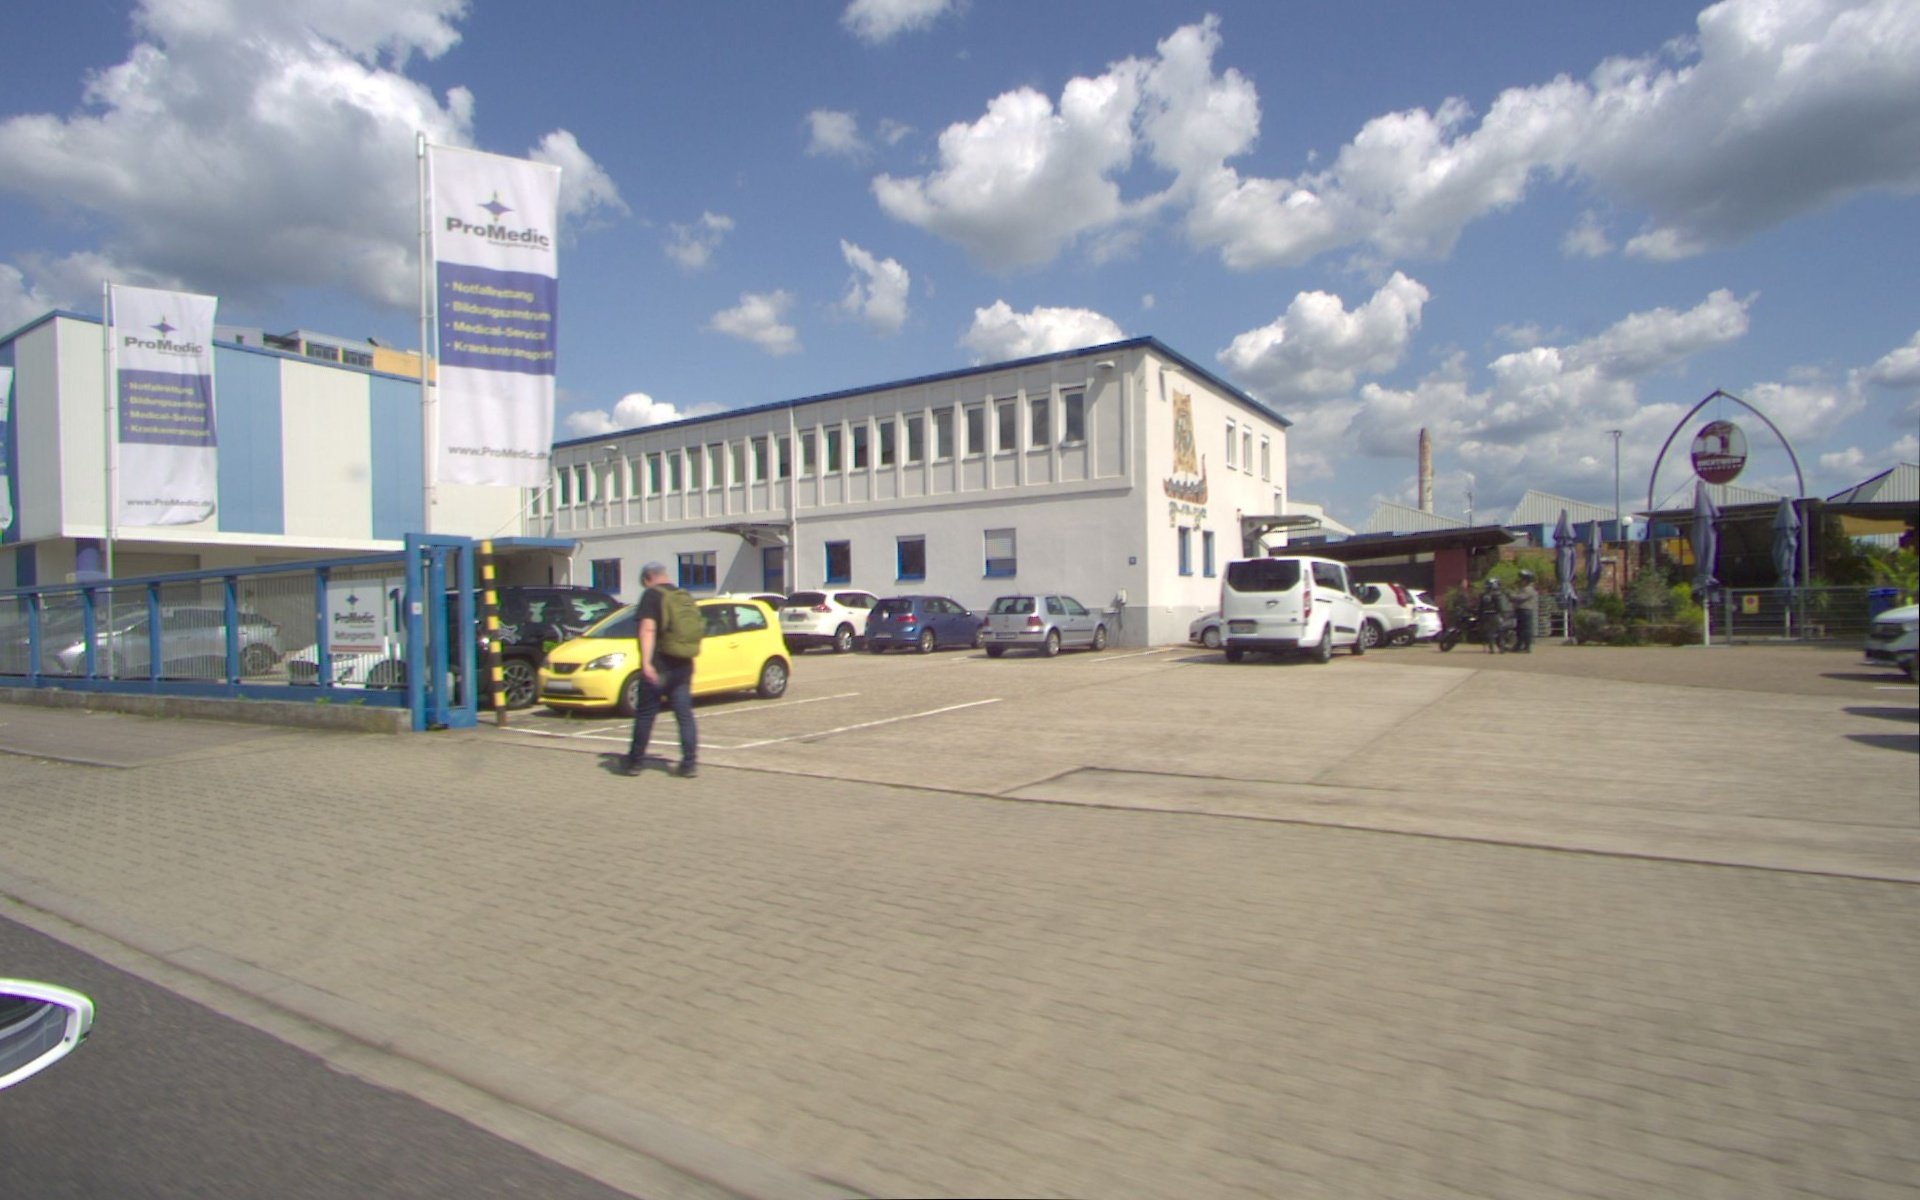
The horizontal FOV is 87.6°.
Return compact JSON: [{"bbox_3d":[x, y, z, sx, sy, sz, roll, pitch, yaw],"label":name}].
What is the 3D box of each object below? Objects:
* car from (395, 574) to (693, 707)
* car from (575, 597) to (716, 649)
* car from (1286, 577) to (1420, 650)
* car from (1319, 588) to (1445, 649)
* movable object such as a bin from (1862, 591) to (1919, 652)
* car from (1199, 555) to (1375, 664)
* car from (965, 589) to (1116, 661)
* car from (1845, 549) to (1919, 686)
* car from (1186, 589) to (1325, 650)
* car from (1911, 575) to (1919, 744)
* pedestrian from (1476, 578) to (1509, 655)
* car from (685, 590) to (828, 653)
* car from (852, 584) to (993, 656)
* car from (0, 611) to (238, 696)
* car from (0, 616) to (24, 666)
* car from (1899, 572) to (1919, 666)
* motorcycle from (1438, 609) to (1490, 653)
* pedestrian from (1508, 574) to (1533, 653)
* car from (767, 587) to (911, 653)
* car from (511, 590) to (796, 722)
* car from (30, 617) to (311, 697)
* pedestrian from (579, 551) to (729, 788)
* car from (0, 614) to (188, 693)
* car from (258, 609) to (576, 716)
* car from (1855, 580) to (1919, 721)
[{"bbox_3d":[-6.031,0.588,14.926,1.766,1.701,3.800,-2,-2,32],"label":"car"},{"bbox_3d":[-9.823,0.706,31.545,1.906,1.527,3.980,-1,-1,31],"label":"car"},{"bbox_3d":[10.335,0.407,26.385,3.116,1.790,1.413,-2,-4,31],"label":"car"},{"bbox_3d":[11.937,0.565,28.348,3.116,1.582,1.413,-2,-4,31],"label":"car"},{"bbox_3d":[20.769,0.470,22.207,0.592,1.310,1.024,-1,0,-36],"label":"movable object such as a bin"},{"bbox_3d":[6.805,0.234,20.487,2.245,1.961,4.668,-1,-1,34],"label":"car"},{"bbox_3d":[1.992,0.561,23.800,1.840,1.505,3.870,-2,0,36],"label":"car"},{"bbox_3d":[14.903,0.205,13.418,4.206,1.830,1.688,-1,0,23],"label":"car"},{"bbox_3d":[7.432,0.524,25.277,3.118,1.420,1.412,-2,-4,32],"label":"car"},{"bbox_3d":[9.814,0.452,7.290,3.766,1.460,1.743,-2,-1,19],"label":"car"},{"bbox_3d":[11.292,0.344,21.235,0.596,1.609,0.414,0,1,33],"label":"pedestrian"},{"bbox_3d":[-5.860,0.613,29.285,1.907,1.724,3.980,-1,-1,32],"label":"car"},{"bbox_3d":[-0.904,0.511,26.232,1.780,1.713,3.980,-1,-1,32],"label":"car"},{"bbox_3d":[-18.816,1.098,22.075,2.116,1.668,4.219,-1,-1,31],"label":"car"},{"bbox_3d":[-32.710,1.436,32.864,4.578,1.531,1.823,-5,-3,33],"label":"car"},{"bbox_3d":[17.582,0.280,15.666,3.926,1.542,1.556,-1,0,14],"label":"car"},{"bbox_3d":[11.363,0.697,22.604,0.983,0.967,0.457,-1,0,19],"label":"motorcycle"},{"bbox_3d":[12.149,0.295,21.688,0.450,1.695,0.601,-1,0,30],"label":"pedestrian"},{"bbox_3d":[-3.184,0.534,27.063,1.780,1.651,3.980,-1,-1,32],"label":"car"},{"bbox_3d":[-4.067,0.679,13.759,1.766,1.510,3.396,-2,1,32],"label":"car"},{"bbox_3d":[-16.572,1.127,21.235,1.972,1.439,4.270,-1,0,32],"label":"car"},{"bbox_3d":[-2.447,0.526,8.046,0.776,1.780,0.767,-1,1,32],"label":"pedestrian"},{"bbox_3d":[-20.742,1.186,23.213,1.971,1.708,4.078,-1,-1,31],"label":"car"},{"bbox_3d":[-8.449,0.888,15.914,1.972,1.439,3.978,-1,0,33],"label":"car"},{"bbox_3d":[11.403,0.465,9.448,3.927,1.395,1.952,-1,0,15],"label":"car"}]
